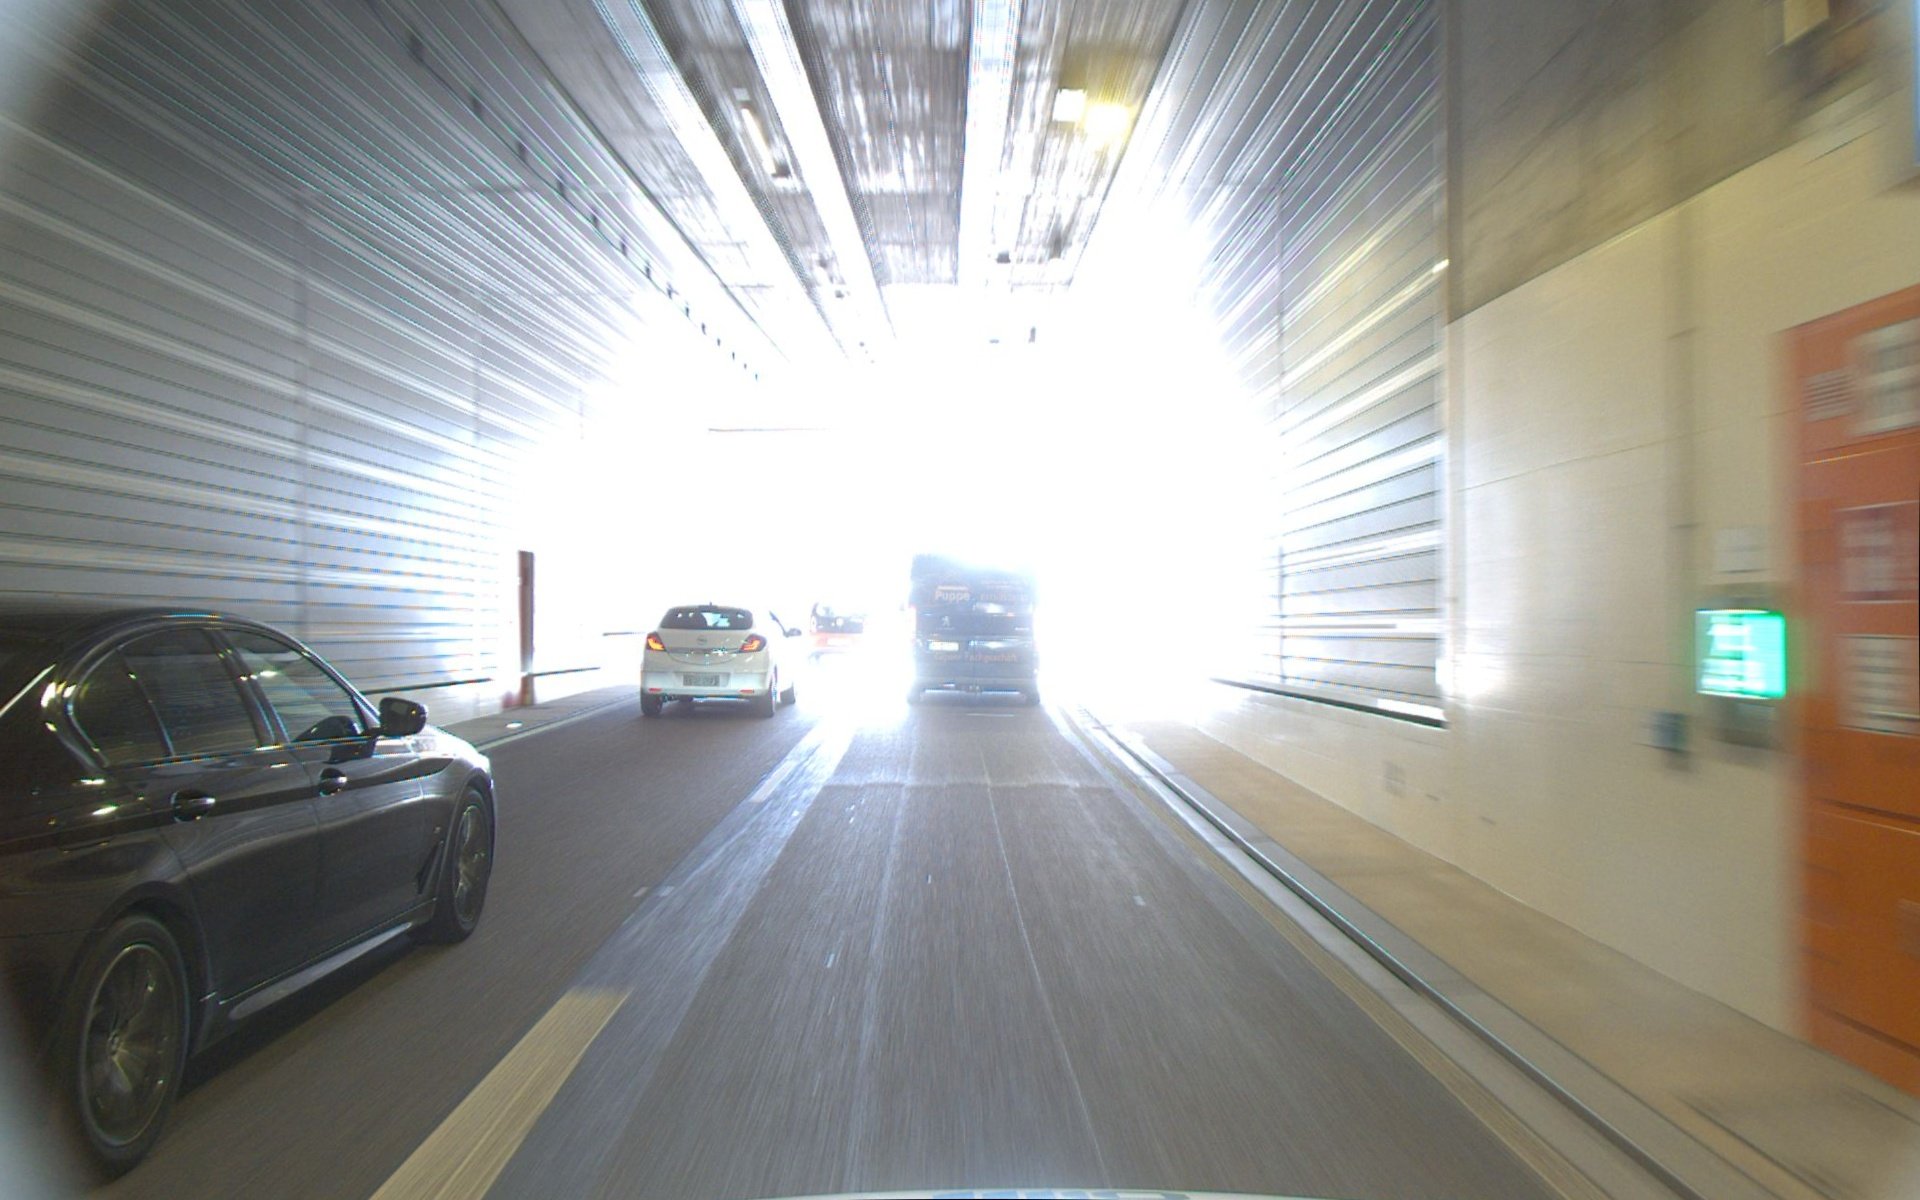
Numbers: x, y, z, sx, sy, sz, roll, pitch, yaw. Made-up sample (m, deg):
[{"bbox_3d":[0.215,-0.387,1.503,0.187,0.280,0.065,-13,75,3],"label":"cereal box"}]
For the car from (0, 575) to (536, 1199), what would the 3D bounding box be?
[{"bbox_3d":[-2.891,0.669,5.432,1.661,1.447,4.851,3,0,0],"label":"car"}]

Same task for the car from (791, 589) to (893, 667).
[{"bbox_3d":[-2.543,0.578,36.508,1.777,1.538,4.221,3,0,1],"label":"car"}]

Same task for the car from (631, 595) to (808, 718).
[{"bbox_3d":[-3.082,0.679,21.912,1.674,1.438,3.974,1,0,1],"label":"car"}]

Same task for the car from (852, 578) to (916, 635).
[{"bbox_3d":[-2.340,0.238,51.545,1.839,1.609,4.218,3,-1,-2],"label":"car"}]

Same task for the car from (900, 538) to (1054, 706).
[{"bbox_3d":[0.253,0.306,25.590,2.114,2.305,4.636,1,0,0],"label":"car"}]
